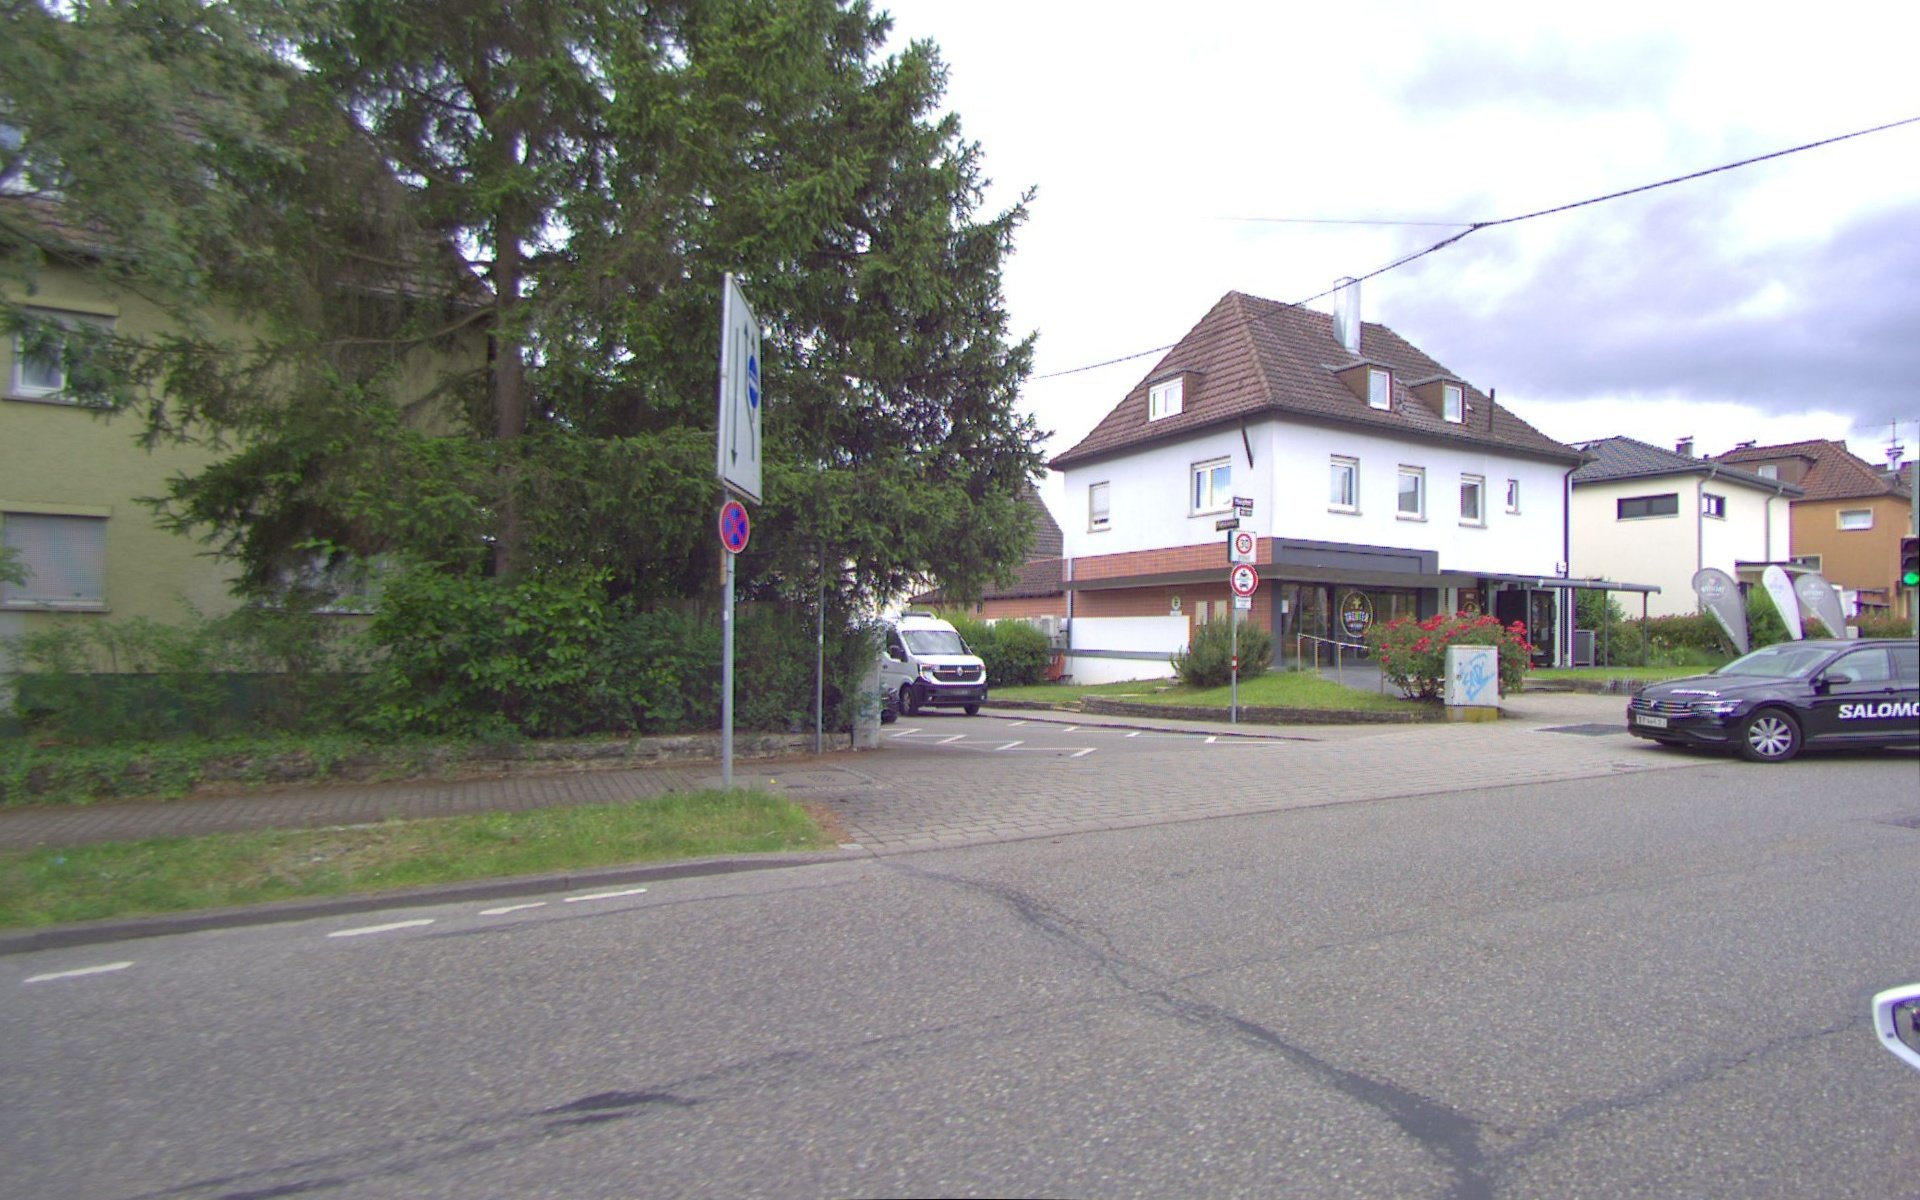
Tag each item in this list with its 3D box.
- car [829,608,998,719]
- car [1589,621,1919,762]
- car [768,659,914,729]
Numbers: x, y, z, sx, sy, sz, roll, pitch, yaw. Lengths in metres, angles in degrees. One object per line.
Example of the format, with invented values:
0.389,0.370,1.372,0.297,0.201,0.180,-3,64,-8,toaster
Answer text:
-1.379,1.664,26.389,2.106,2.596,5.580,2,-4,-30,car
10.928,1.112,12.841,4.557,1.642,2.000,0,-2,-2,car
-2.800,2.074,22.797,1.776,1.371,4.101,0,-3,-31,car
